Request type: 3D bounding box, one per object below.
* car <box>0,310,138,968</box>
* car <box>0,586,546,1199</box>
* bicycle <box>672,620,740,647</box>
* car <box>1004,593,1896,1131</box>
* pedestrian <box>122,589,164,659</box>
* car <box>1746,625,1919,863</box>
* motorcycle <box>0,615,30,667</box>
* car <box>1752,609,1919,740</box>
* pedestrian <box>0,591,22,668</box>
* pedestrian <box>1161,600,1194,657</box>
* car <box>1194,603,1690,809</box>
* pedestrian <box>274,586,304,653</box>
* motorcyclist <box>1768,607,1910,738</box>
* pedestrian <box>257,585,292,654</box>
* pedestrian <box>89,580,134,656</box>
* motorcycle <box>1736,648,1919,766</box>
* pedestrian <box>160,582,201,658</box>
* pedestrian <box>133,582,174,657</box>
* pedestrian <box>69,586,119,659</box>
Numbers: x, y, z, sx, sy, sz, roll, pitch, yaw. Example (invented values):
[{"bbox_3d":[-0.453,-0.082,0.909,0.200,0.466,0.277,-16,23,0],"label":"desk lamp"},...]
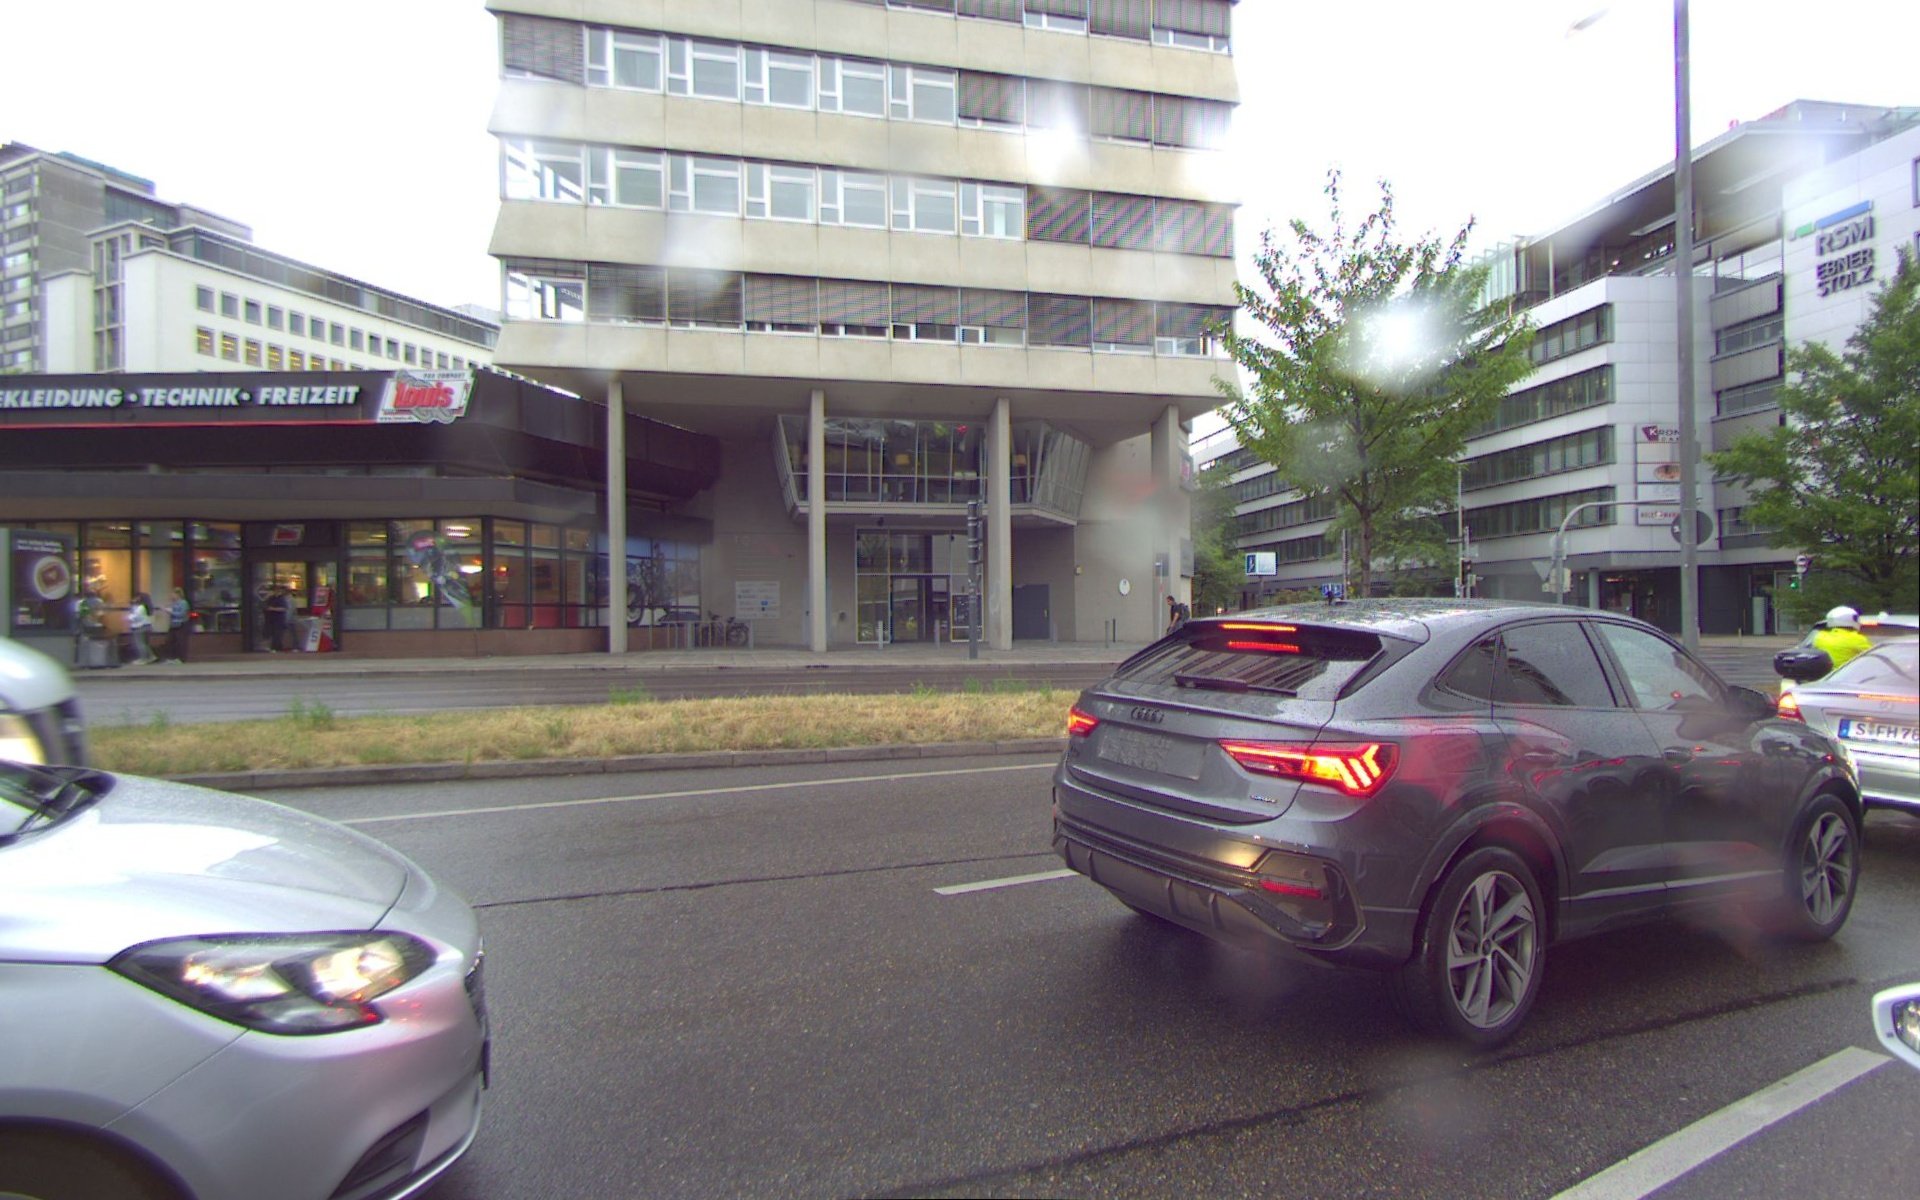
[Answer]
[{"bbox_3d":[-6.170,0.108,3.120,5.426,2.473,1.933,1,0,-36],"label":"car"},{"bbox_3d":[-2.876,0.684,1.693,3.831,1.455,1.639,1,0,-32],"label":"car"},{"bbox_3d":[-8.548,1.134,33.856,2.165,0.871,0.456,2,0,-31],"label":"bicycle"},{"bbox_3d":[2.423,0.780,4.660,4.220,1.542,1.640,1,0,-30],"label":"car"},{"bbox_3d":[-18.964,0.552,23.329,0.548,1.591,0.541,1,0,-9],"label":"pedestrian"},{"bbox_3d":[7.668,0.952,7.078,4.050,1.426,1.567,2,0,-23],"label":"car"},{"bbox_3d":[-23.517,0.994,24.194,0.353,1.249,1.669,1,0,20],"label":"motorcycle"},{"bbox_3d":[12.645,0.937,13.212,3.940,1.506,1.704,2,0,-21],"label":"car"},{"bbox_3d":[-21.191,0.646,21.957,0.687,1.670,0.732,1,0,-9],"label":"pedestrian"},{"bbox_3d":[6.576,0.852,30.397,0.751,1.706,0.677,1,0,-16],"label":"pedestrian"},{"bbox_3d":[4.682,0.847,9.607,4.717,1.554,1.857,1,0,-28],"label":"car"},{"bbox_3d":[-17.722,0.504,26.539,0.436,1.741,0.509,1,0,3],"label":"pedestrian"},{"bbox_3d":[9.895,0.795,11.318,1.102,1.398,0.768,2,0,-21],"label":"motorcyclist"},{"bbox_3d":[-17.518,0.506,25.681,0.488,1.741,0.525,1,0,3],"label":"pedestrian"},{"bbox_3d":[-19.999,0.421,23.672,0.548,1.767,0.614,1,0,-9],"label":"pedestrian"},{"bbox_3d":[9.830,1.171,11.305,1.998,1.200,0.799,2,0,-21],"label":"motorcycle"},{"bbox_3d":[-18.329,0.471,23.617,0.548,1.767,0.541,1,0,-9],"label":"pedestrian"},{"bbox_3d":[-19.321,0.464,24.065,0.548,1.767,0.541,1,0,-9],"label":"pedestrian"},{"bbox_3d":[-19.610,0.499,22.747,0.601,1.633,0.614,1,0,-9],"label":"pedestrian"}]
